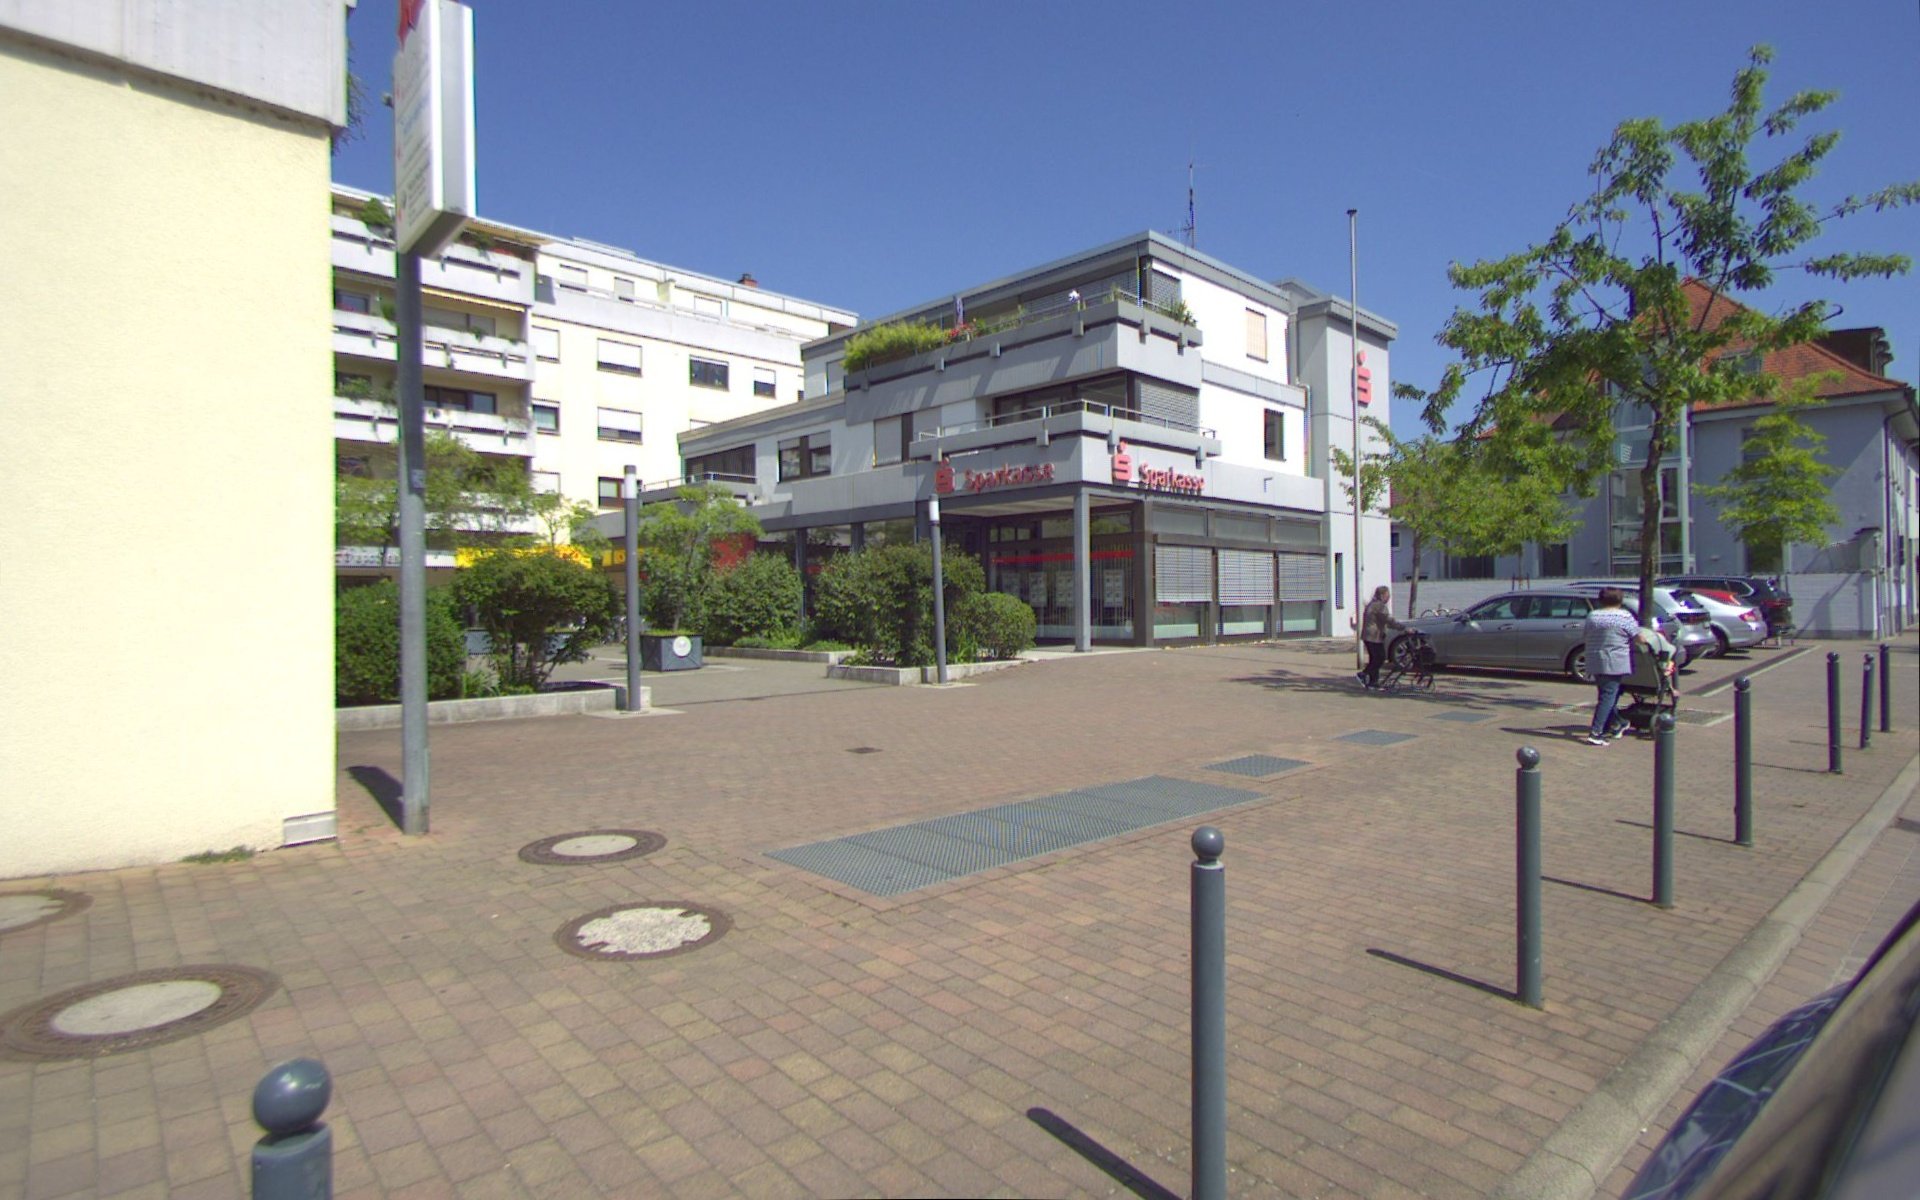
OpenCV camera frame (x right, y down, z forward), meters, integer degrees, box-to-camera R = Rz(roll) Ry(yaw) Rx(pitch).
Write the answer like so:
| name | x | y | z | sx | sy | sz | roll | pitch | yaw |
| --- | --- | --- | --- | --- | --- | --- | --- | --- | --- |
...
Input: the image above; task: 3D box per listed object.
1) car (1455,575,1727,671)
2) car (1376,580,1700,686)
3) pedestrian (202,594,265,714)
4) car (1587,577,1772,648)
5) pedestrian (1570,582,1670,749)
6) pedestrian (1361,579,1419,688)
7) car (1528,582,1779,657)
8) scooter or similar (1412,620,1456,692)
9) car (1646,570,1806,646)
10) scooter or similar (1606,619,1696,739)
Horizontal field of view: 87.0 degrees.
| name | x | y | z | sx | sy | sz | roll | pitch | yaw |
| --- | --- | --- | --- | --- | --- | --- | --- | --- | --- |
| car | 11.556 | 0.332 | 18.698 | 4.033 | 1.579 | 1.686 | 1 | 1 | 43 |
| car | 9.457 | 0.441 | 16.817 | 4.432 | 1.484 | 1.664 | 2 | 2 | 44 |
| pedestrian | -9.399 | 0.675 | 13.091 | 0.594 | 1.482 | 0.794 | 0 | 0 | -40 |
| car | 17.055 | 0.268 | 24.087 | 3.421 | 1.571 | 1.467 | 0 | 0 | 45 |
| pedestrian | 6.405 | 0.597 | 9.810 | 1.029 | 1.535 | 0.513 | 0 | 1 | -39 |
| pedestrian | 6.152 | 0.461 | 14.469 | 0.717 | 1.520 | 0.527 | 0 | 0 | 27 |
| car | 15.229 | 0.352 | 22.389 | 4.429 | 1.460 | 1.632 | 1 | 1 | 42 |
| scooter or similar | 6.653 | 0.776 | 14.203 | 0.541 | 0.958 | 0.531 | 0 | 0 | 27 |
| car | 18.962 | 0.152 | 25.098 | 3.032 | 1.759 | 1.324 | 1 | 1 | 44 |
| scooter or similar | 7.044 | 0.780 | 10.312 | 0.892 | 1.132 | 0.506 | 0 | 1 | -38 |
